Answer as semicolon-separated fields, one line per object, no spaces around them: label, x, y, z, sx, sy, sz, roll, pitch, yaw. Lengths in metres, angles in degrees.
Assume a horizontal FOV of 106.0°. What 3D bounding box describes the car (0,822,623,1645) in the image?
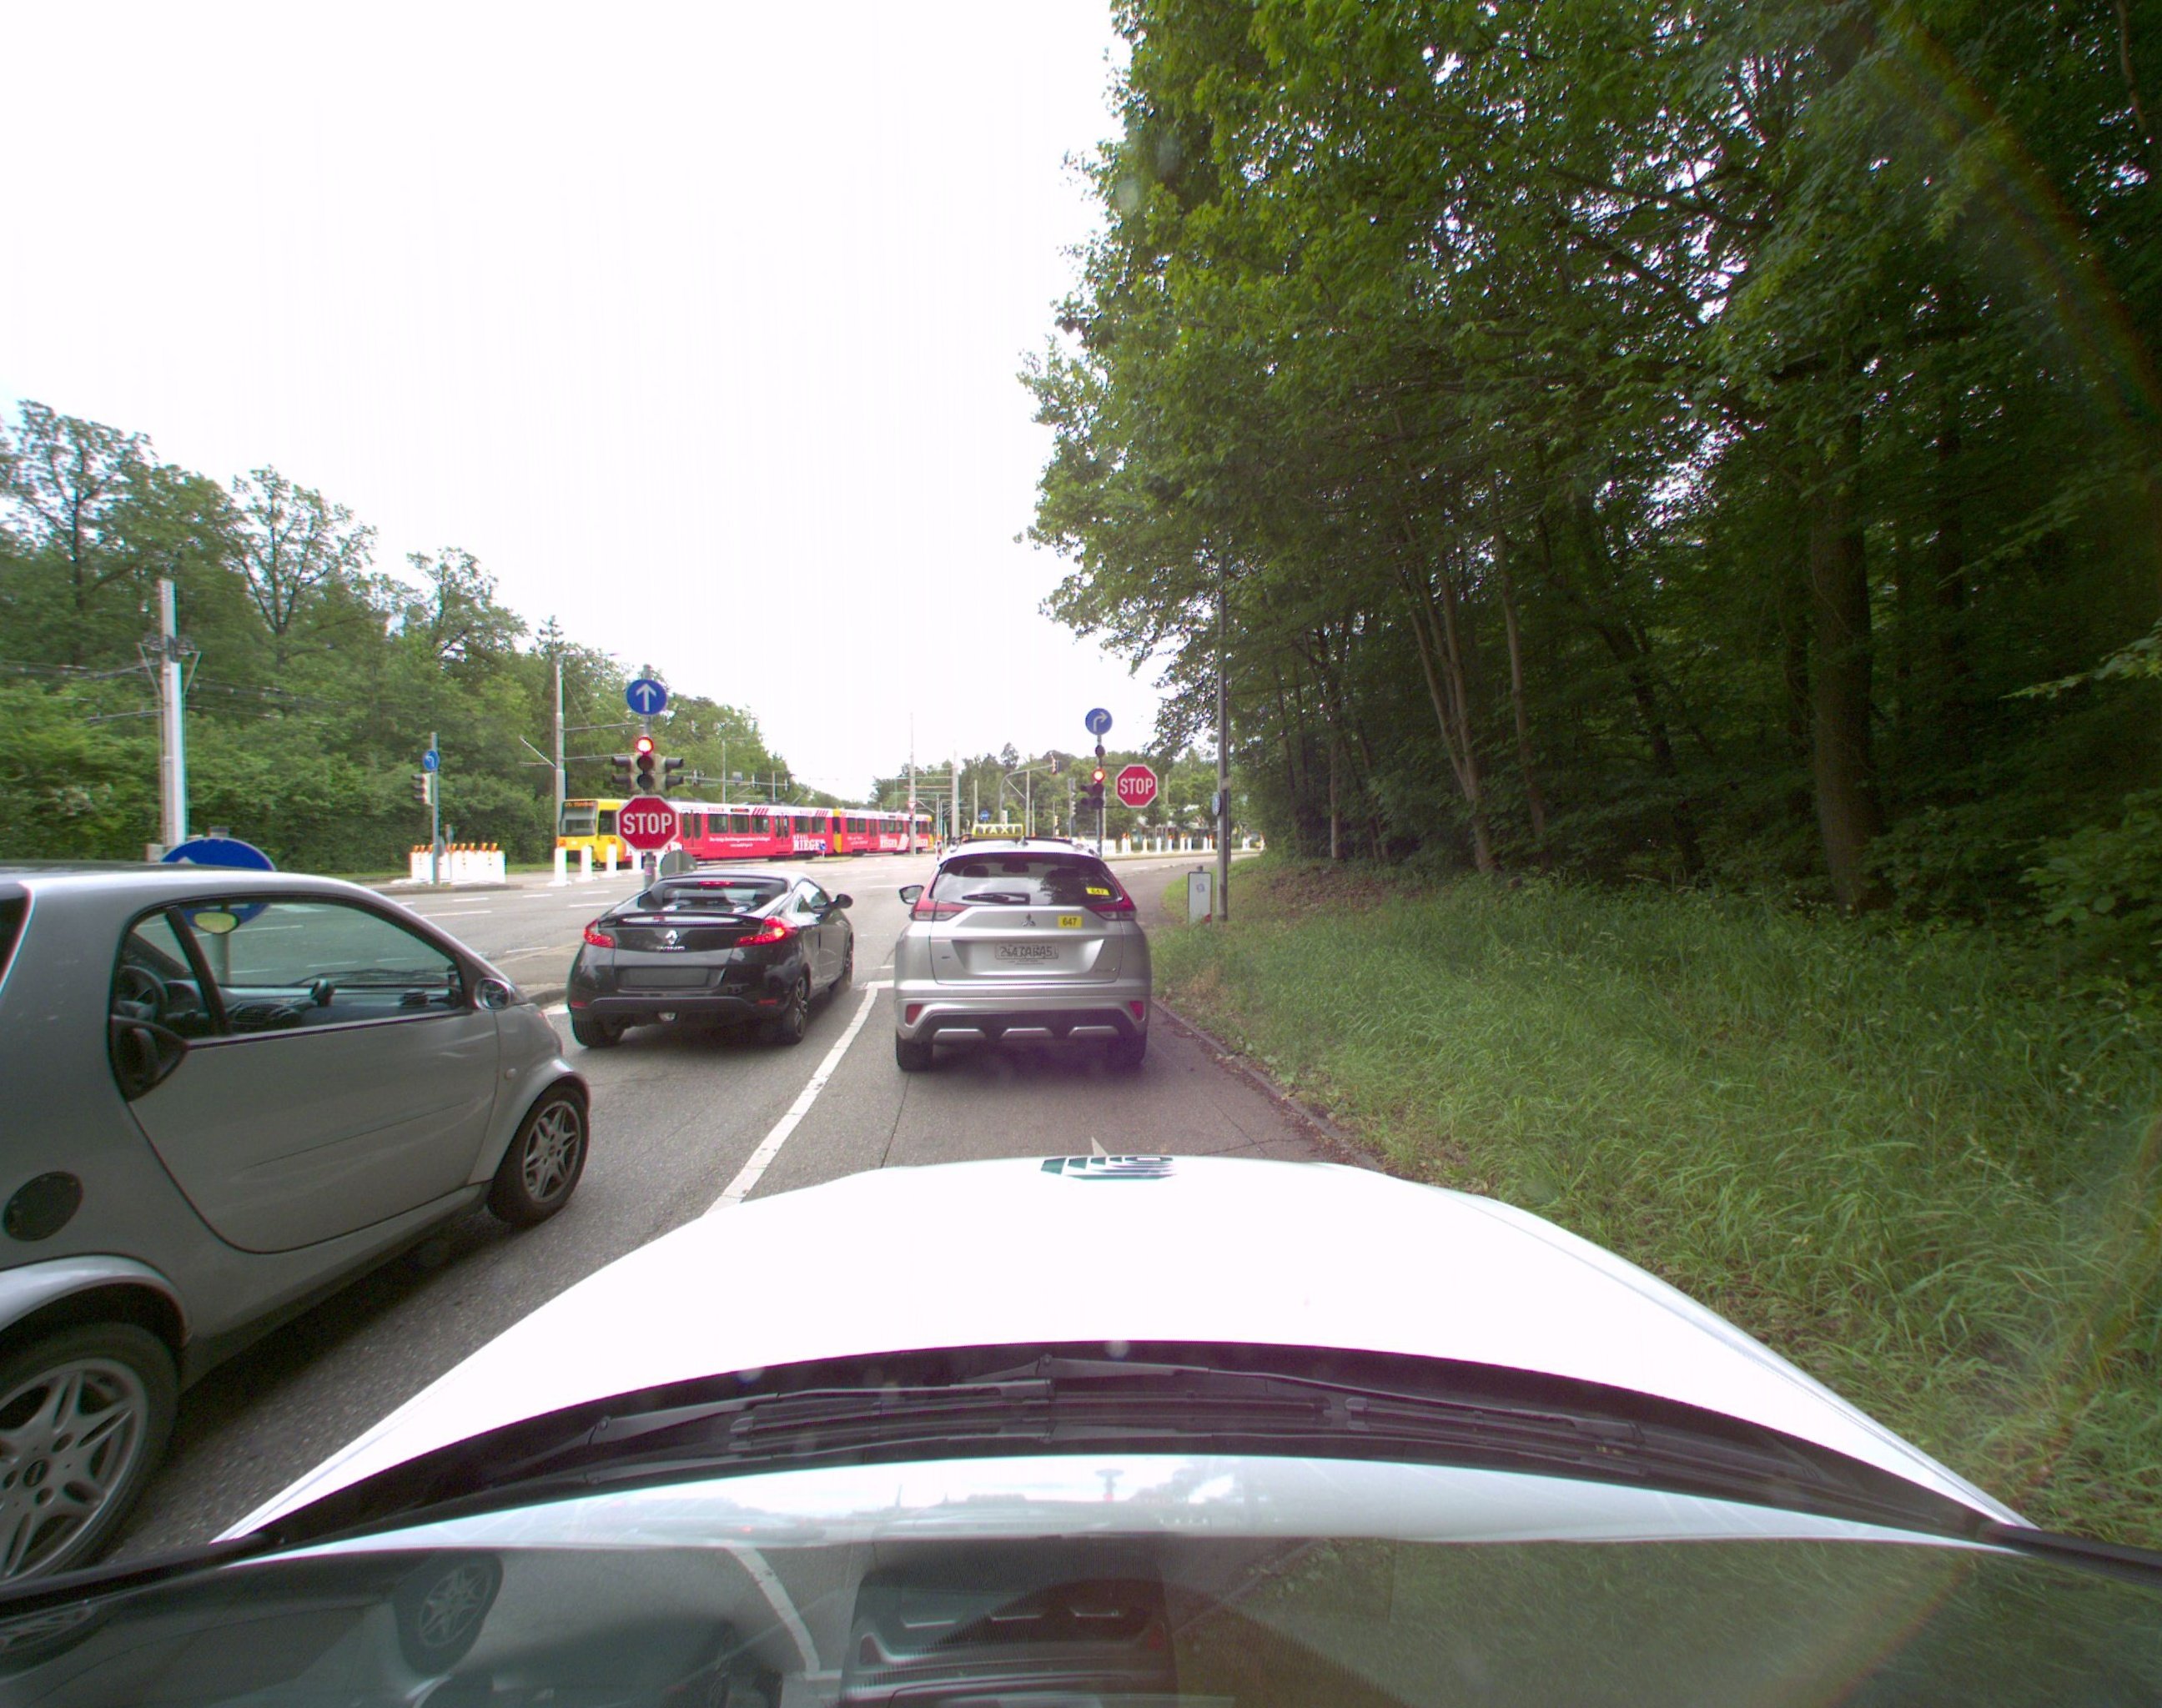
car;-2.903;0.732;2.582;1.455;1.586;2.724;-1;1;-4

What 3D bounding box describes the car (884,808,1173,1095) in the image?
car;-0.515;0.584;6.950;1.772;1.748;3.772;1;1;-7

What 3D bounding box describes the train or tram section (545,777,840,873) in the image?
train or tram section;-20.776;-1.261;46.786;2.932;4.418;18.819;-1;-1;19

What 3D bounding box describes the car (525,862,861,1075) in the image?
car;-3.201;0.816;7.527;1.772;1.361;3.468;-1;1;-8

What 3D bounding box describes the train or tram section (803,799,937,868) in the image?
train or tram section;-16.154;-1.343;65.130;2.929;4.650;18.595;-1;0;10

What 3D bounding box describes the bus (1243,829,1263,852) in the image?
bus;28.616;-2.317;135.619;2.804;3.602;12.841;0;1;10
